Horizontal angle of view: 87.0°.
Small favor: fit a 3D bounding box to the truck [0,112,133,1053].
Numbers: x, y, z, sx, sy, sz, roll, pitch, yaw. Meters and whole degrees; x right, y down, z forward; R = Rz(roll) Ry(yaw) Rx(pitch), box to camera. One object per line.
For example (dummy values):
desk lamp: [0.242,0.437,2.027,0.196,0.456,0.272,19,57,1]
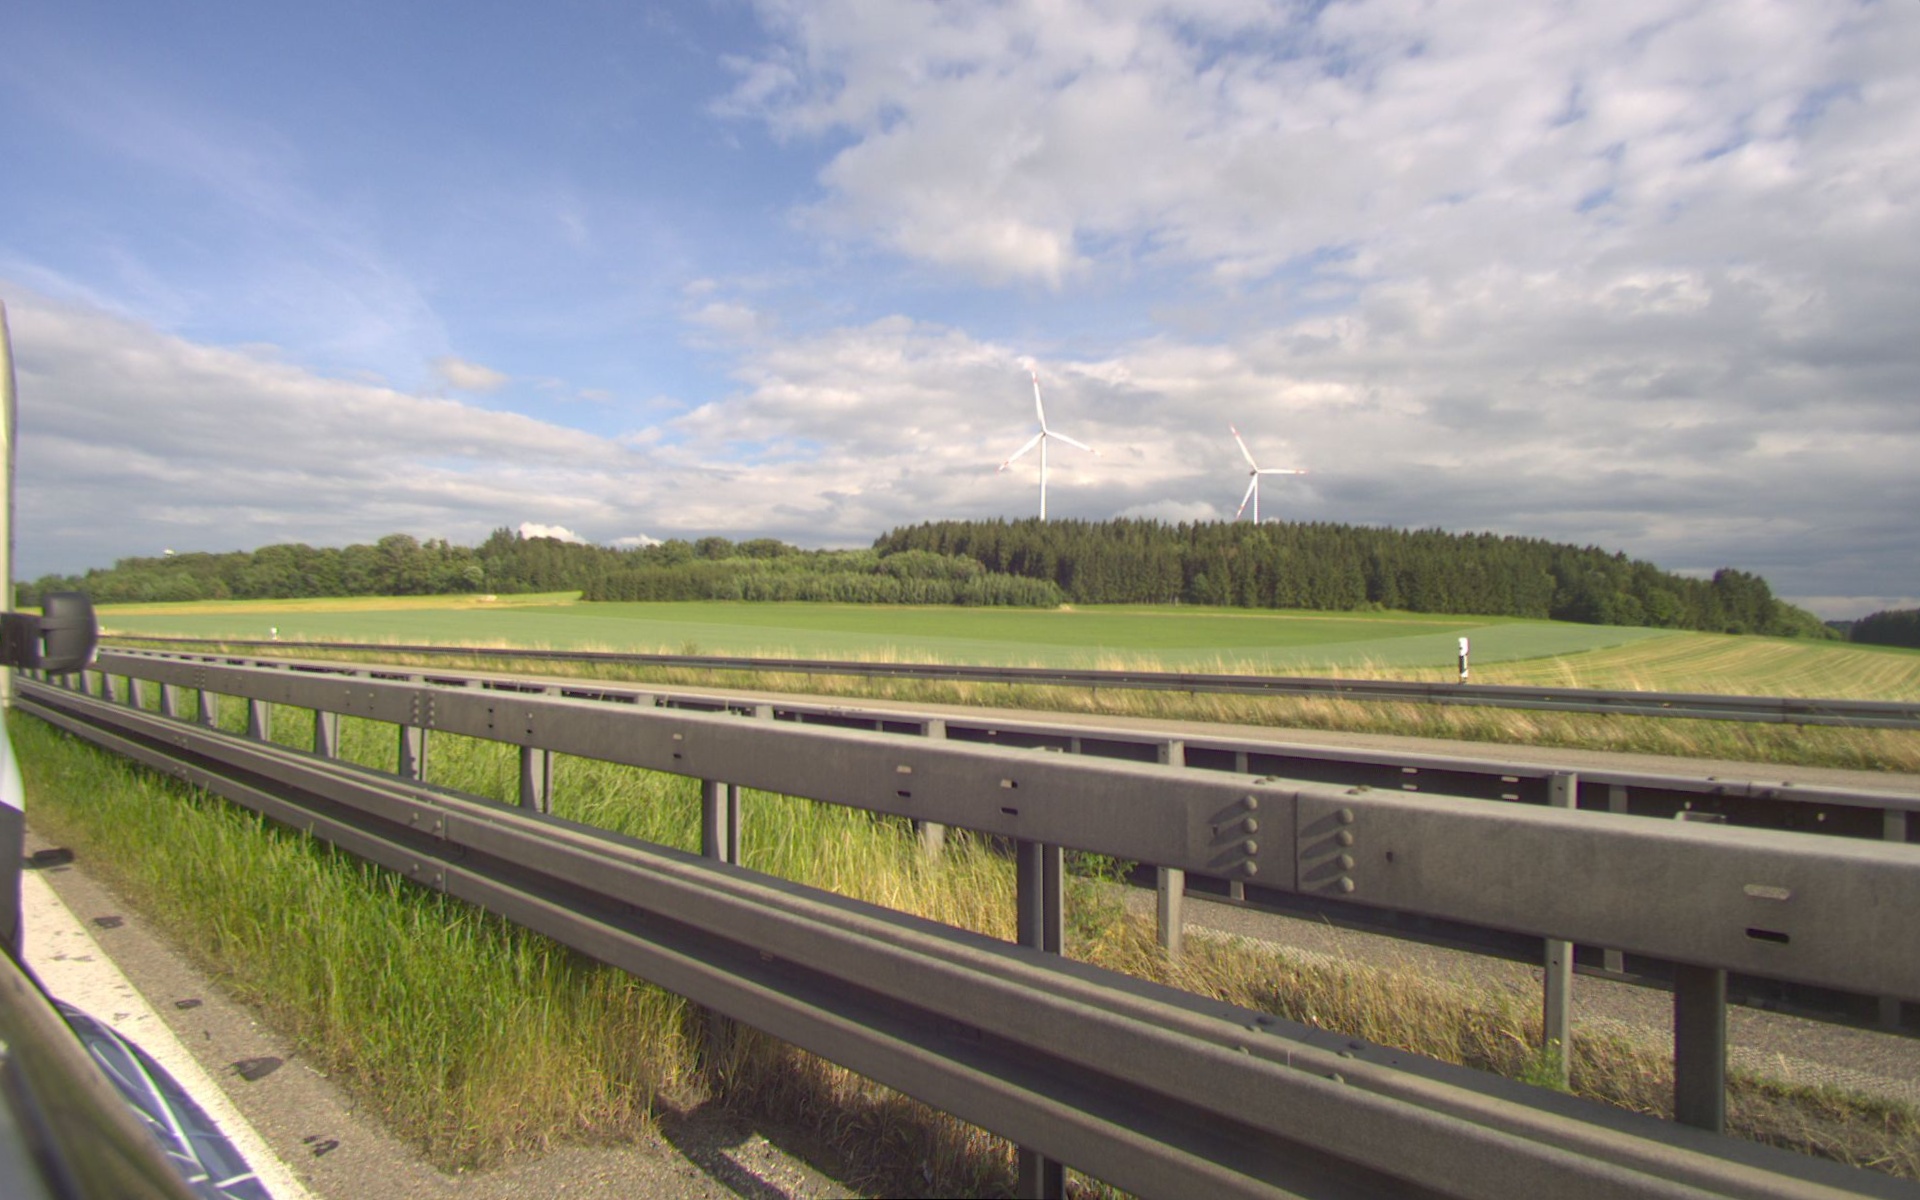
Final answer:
truck: [-8.050,0.050,6.354,11.155,3.183,2.470,-2,-2,40]
